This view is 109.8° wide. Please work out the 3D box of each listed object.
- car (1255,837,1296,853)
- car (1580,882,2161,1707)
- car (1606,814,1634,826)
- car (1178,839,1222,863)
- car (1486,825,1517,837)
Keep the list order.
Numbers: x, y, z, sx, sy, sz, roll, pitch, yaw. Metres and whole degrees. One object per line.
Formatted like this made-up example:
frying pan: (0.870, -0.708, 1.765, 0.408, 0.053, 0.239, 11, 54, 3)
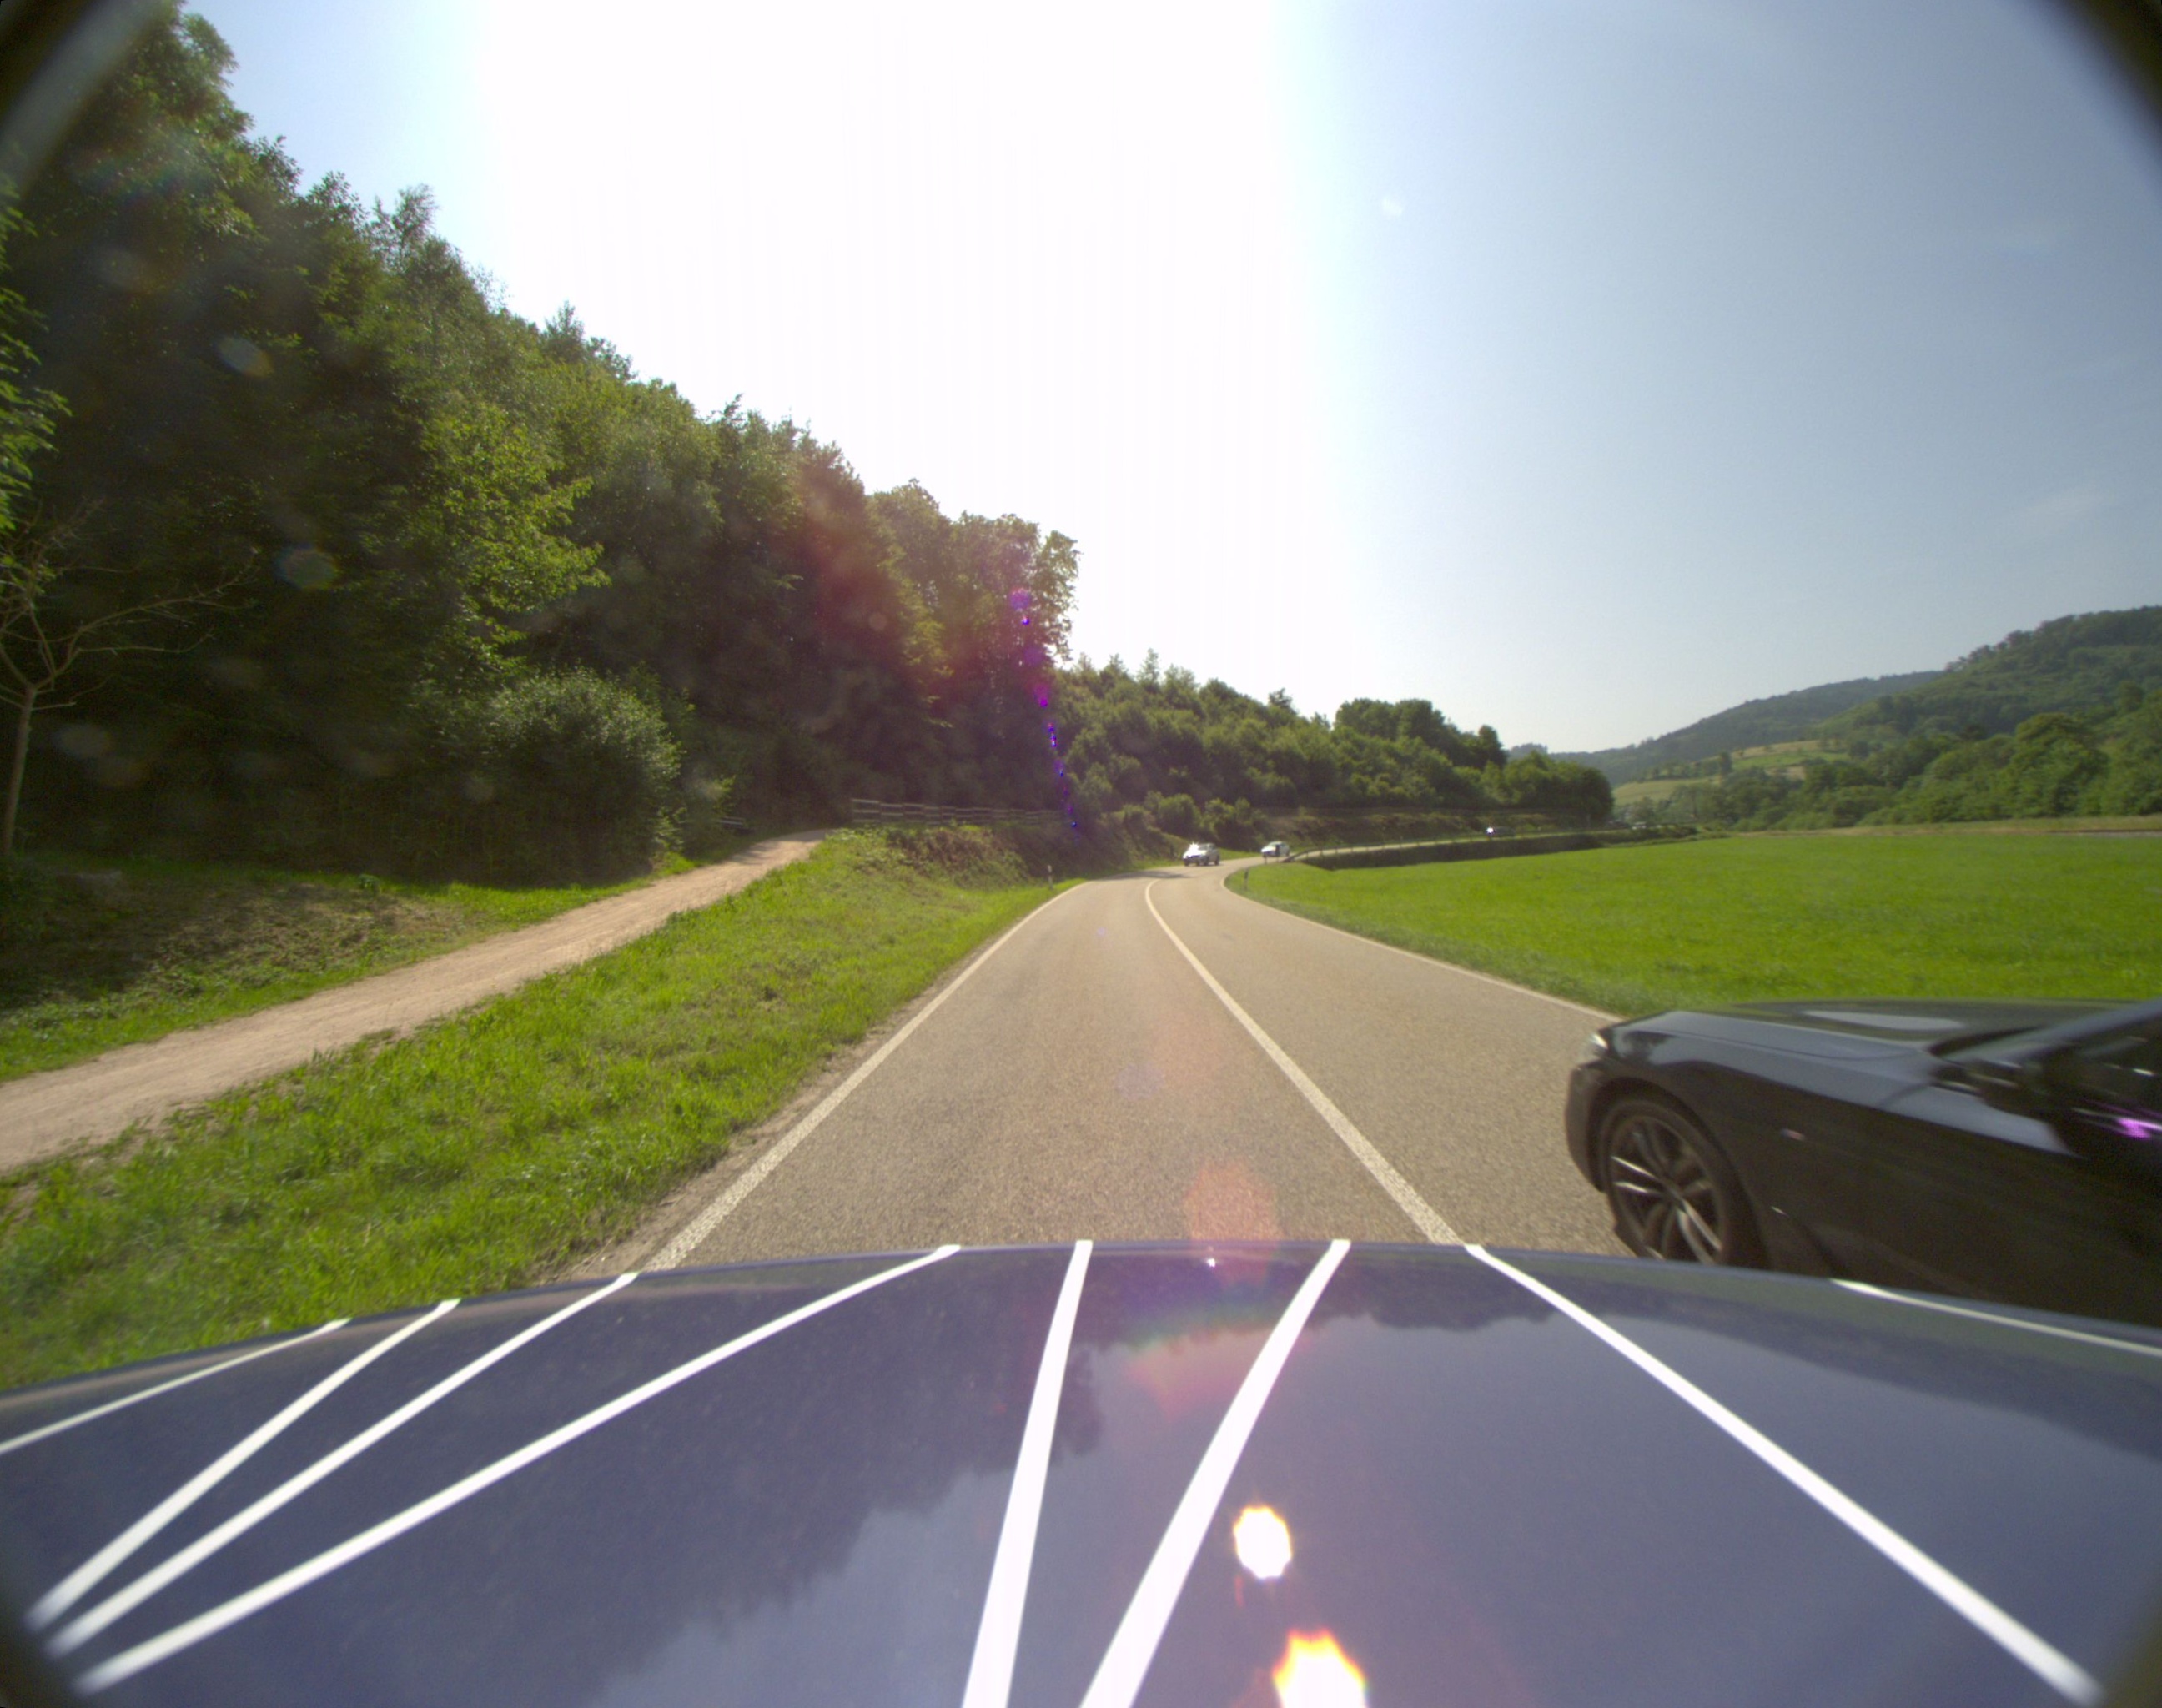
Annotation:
car: (19.959, -0.968, 77.715, 2.142, 1.482, 4.681, -3, 0, 41)
car: (2.754, 0.847, 0.390, 1.921, 1.462, 4.510, -2, 0, -1)
car: (86.122, -5.448, 121.450, 4.904, 1.730, 1.951, -2, 1, -33)
car: (9.821, -0.269, 62.587, 2.114, 1.803, 4.463, -3, 0, 28)
car: (58.324, -3.195, 105.355, 4.602, 1.578, 1.877, -2, 0, -33)
